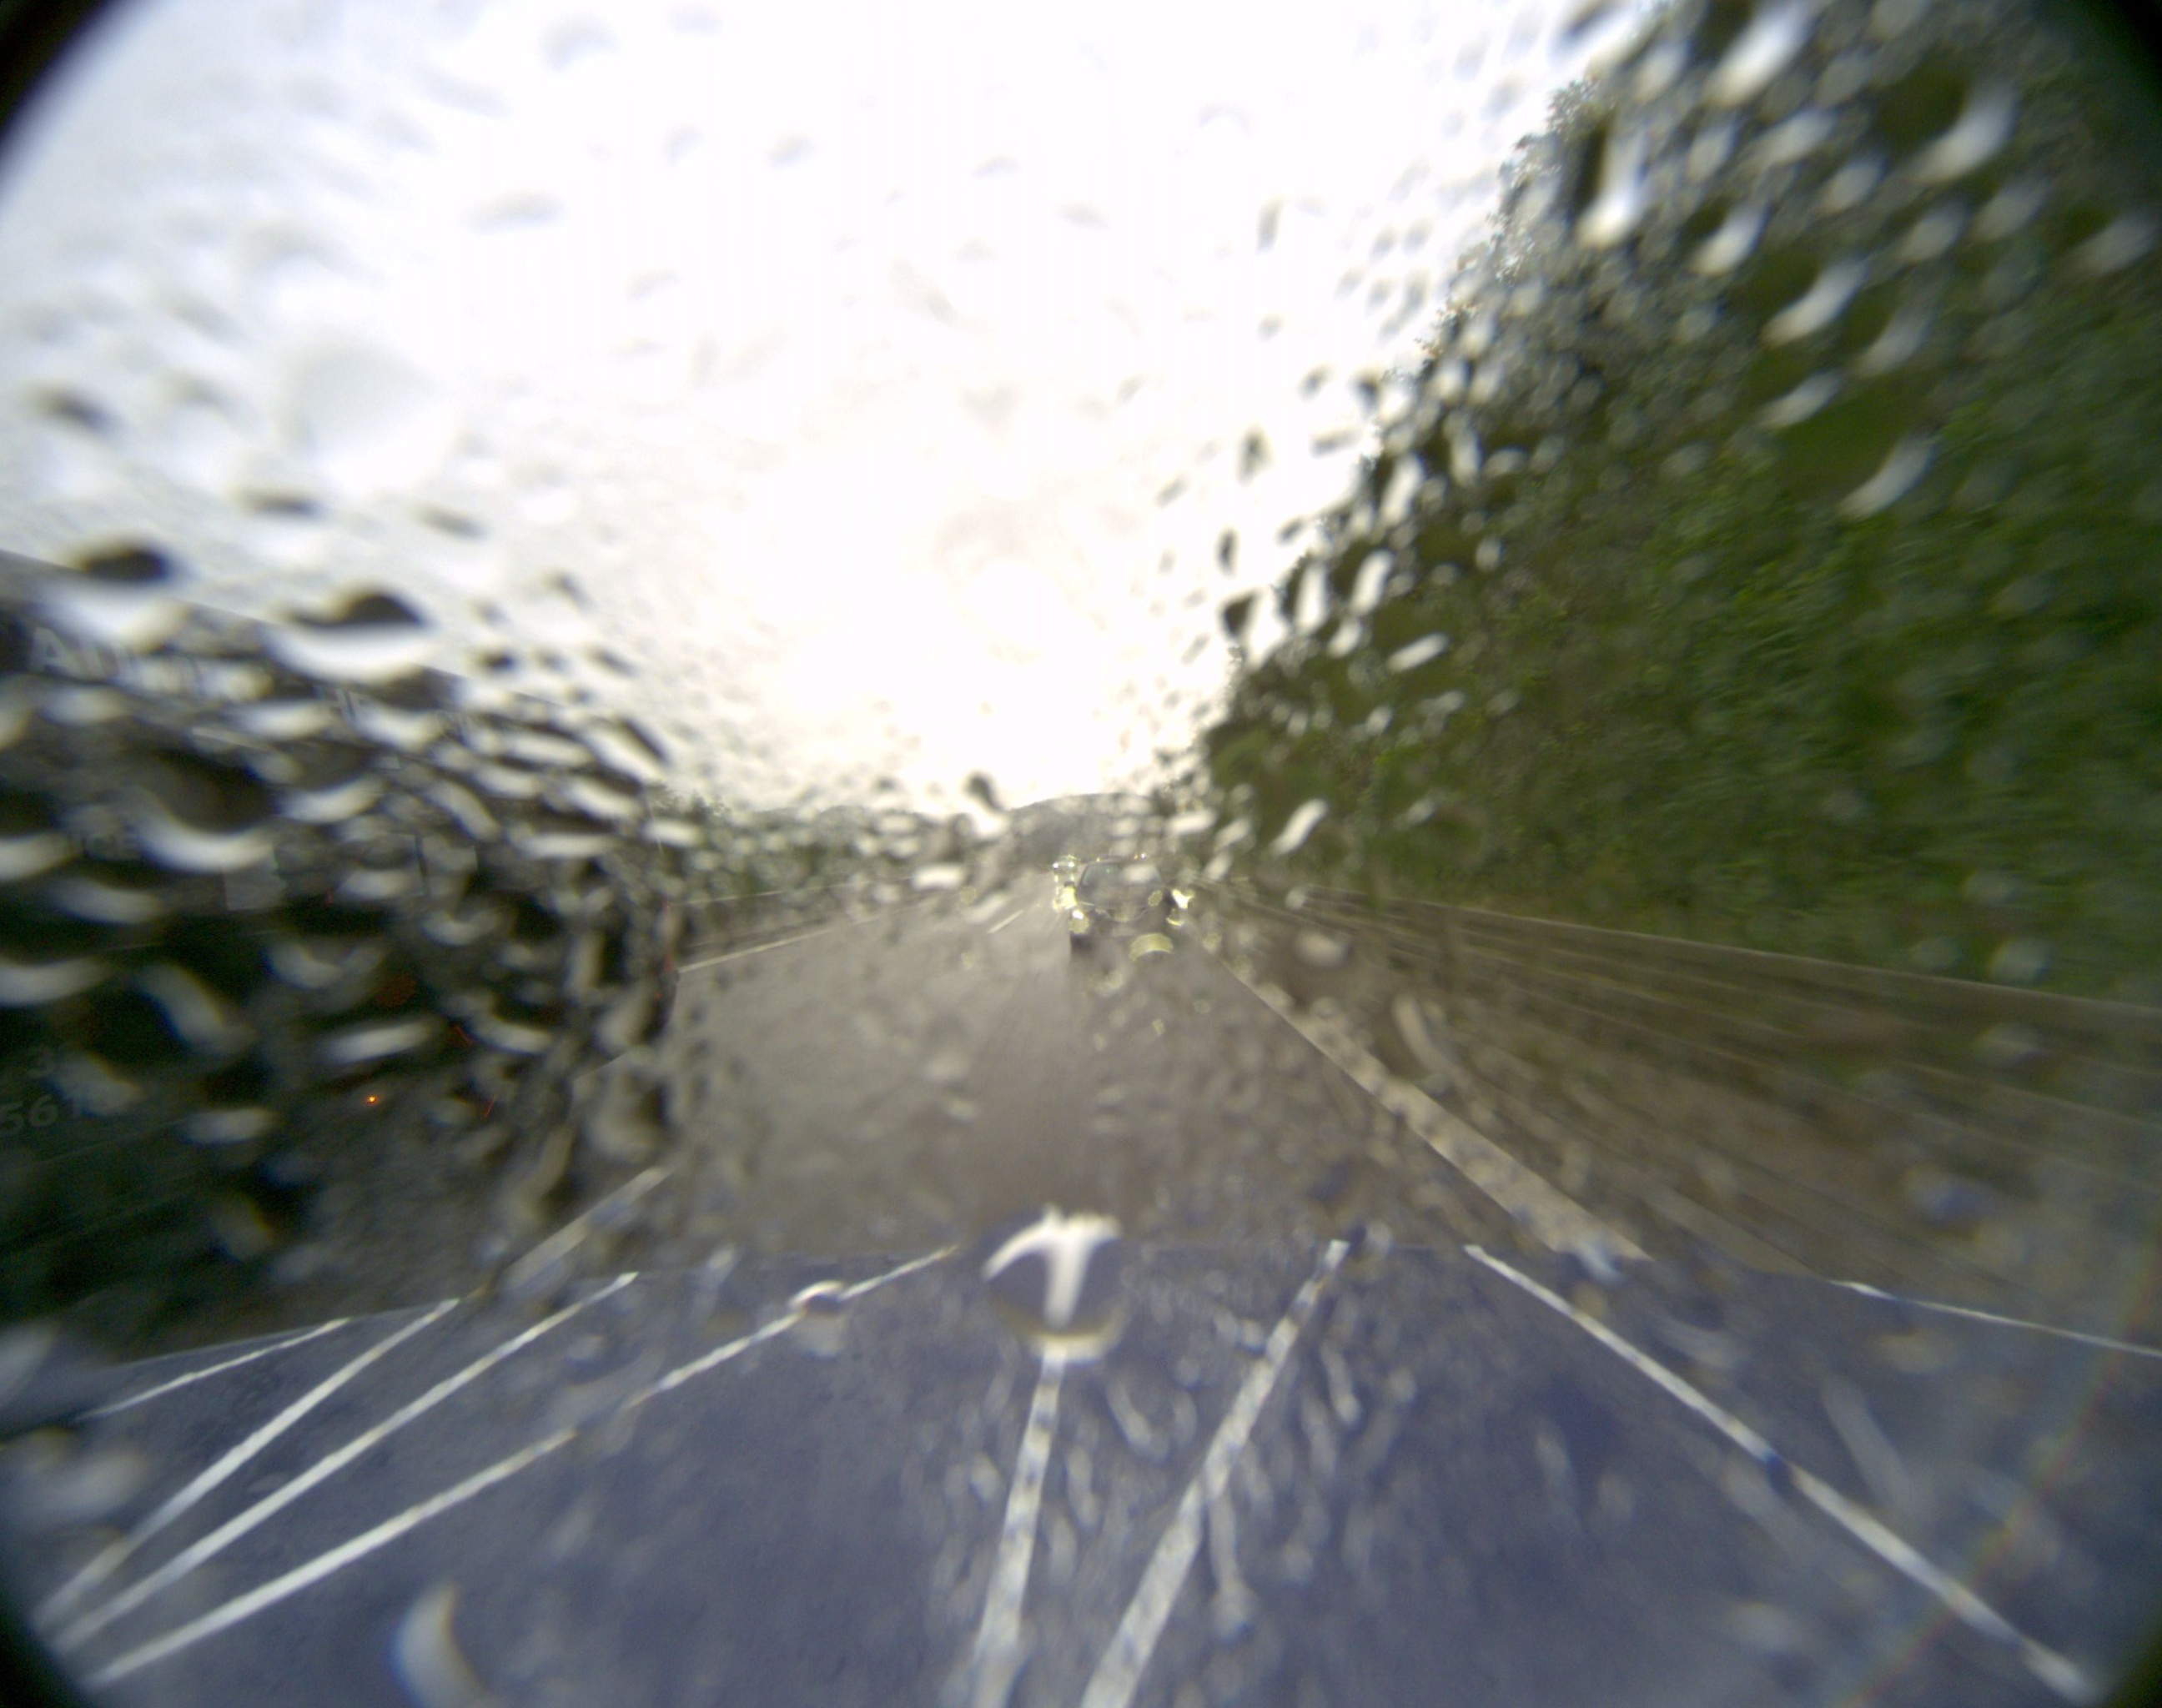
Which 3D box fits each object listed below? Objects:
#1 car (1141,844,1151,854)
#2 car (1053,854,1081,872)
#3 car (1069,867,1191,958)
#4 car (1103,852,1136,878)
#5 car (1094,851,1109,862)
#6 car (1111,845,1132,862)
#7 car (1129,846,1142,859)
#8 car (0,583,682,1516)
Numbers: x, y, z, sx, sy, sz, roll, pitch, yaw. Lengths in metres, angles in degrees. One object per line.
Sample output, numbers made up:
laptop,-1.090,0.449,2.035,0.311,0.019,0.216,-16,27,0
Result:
car,13.572,-1.013,158.426,1.909,2.002,4.000,-2,1,2
car,-1.188,0.748,66.330,1.990,1.407,4.565,-3,0,3
car,0.754,0.926,13.698,1.839,1.316,4.135,-1,0,0
car,2.204,0.575,43.248,1.712,1.316,3.945,-3,0,3
car,3.080,0.382,114.658,1.990,1.407,4.565,-3,0,4
car,3.831,-0.038,73.150,1.906,1.545,4.564,-2,0,2
car,8.571,-0.259,120.333,1.592,1.895,3.753,-2,0,-2
car,-3.886,0.539,2.005,1.998,2.479,6.704,-2,0,0
